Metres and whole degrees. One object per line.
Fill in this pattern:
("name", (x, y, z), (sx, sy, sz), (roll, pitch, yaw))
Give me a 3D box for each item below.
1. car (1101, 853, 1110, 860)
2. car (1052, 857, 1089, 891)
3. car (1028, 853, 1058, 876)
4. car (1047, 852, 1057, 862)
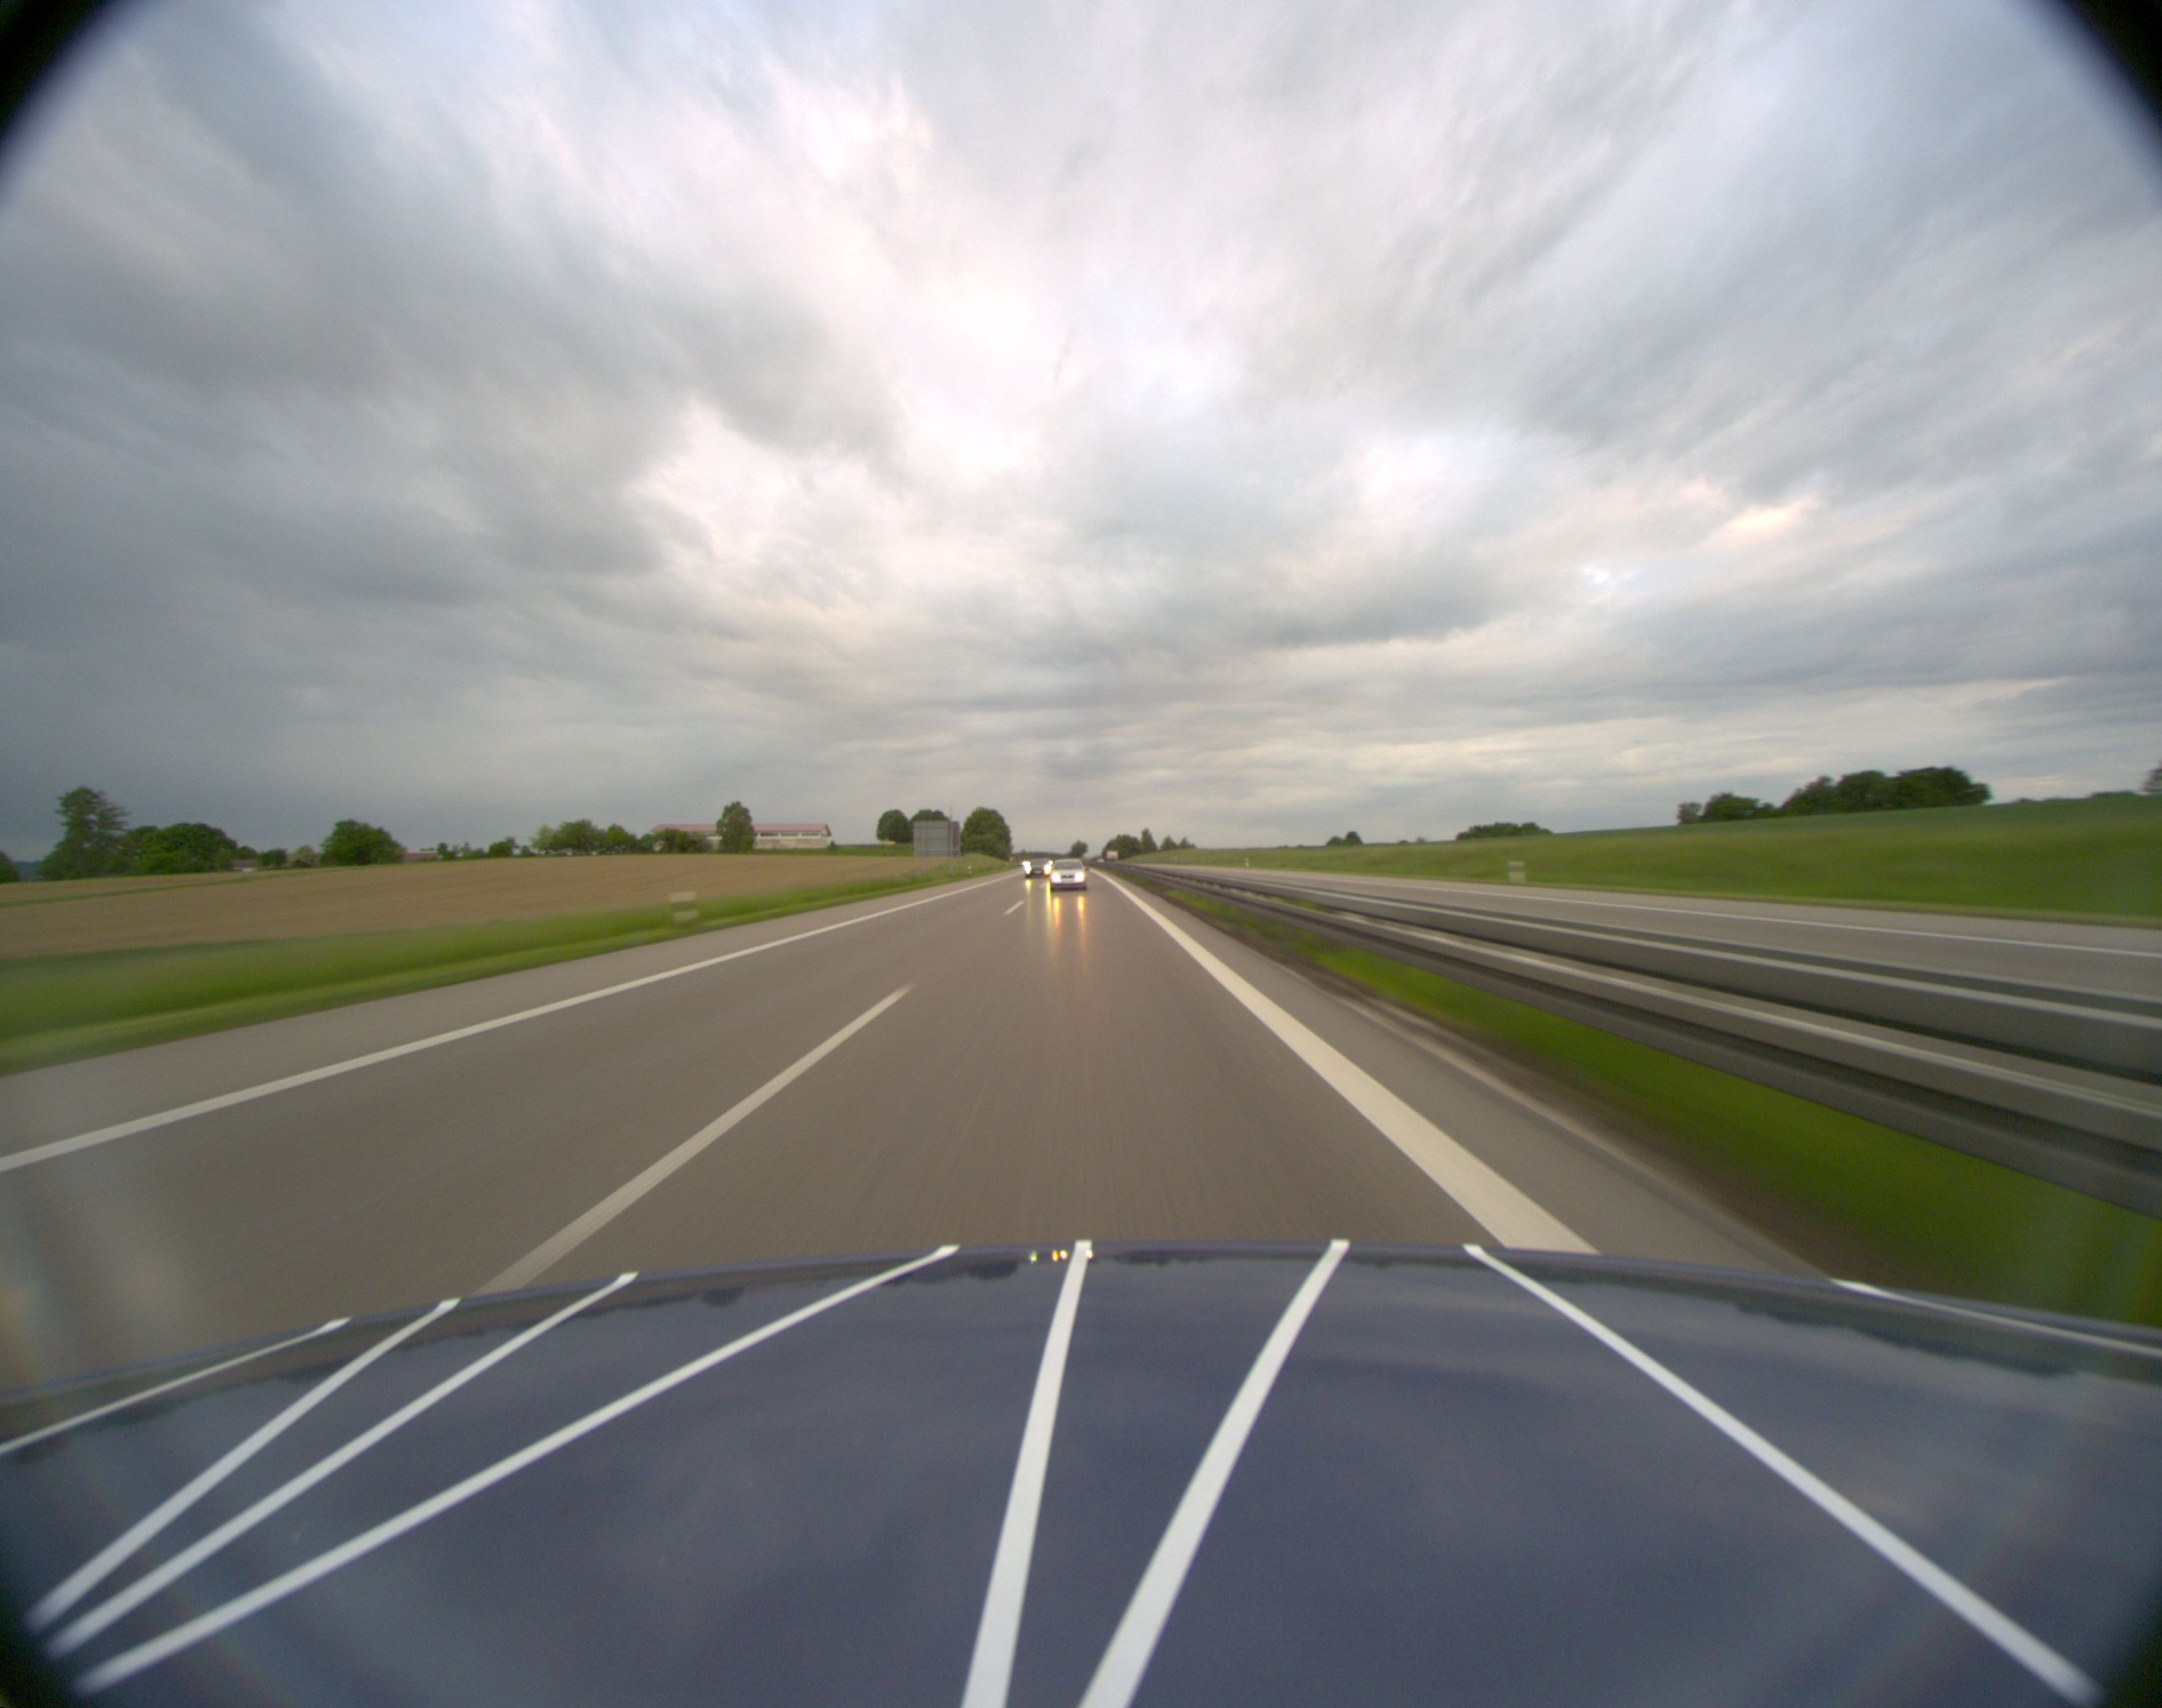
("car", (5.768, 0.608, 181.639), (1.733, 1.477, 4.930), (-3, 1, -1))
("car", (-0.468, 0.869, 35.124), (1.592, 1.381, 4.600), (0, 1, 0))
("car", (-2.920, 0.748, 59.092), (1.951, 1.620, 4.535), (-1, 1, 1))
("car", (-5.226, 0.532, 136.766), (1.807, 1.619, 3.902), (-1, 1, -2))
